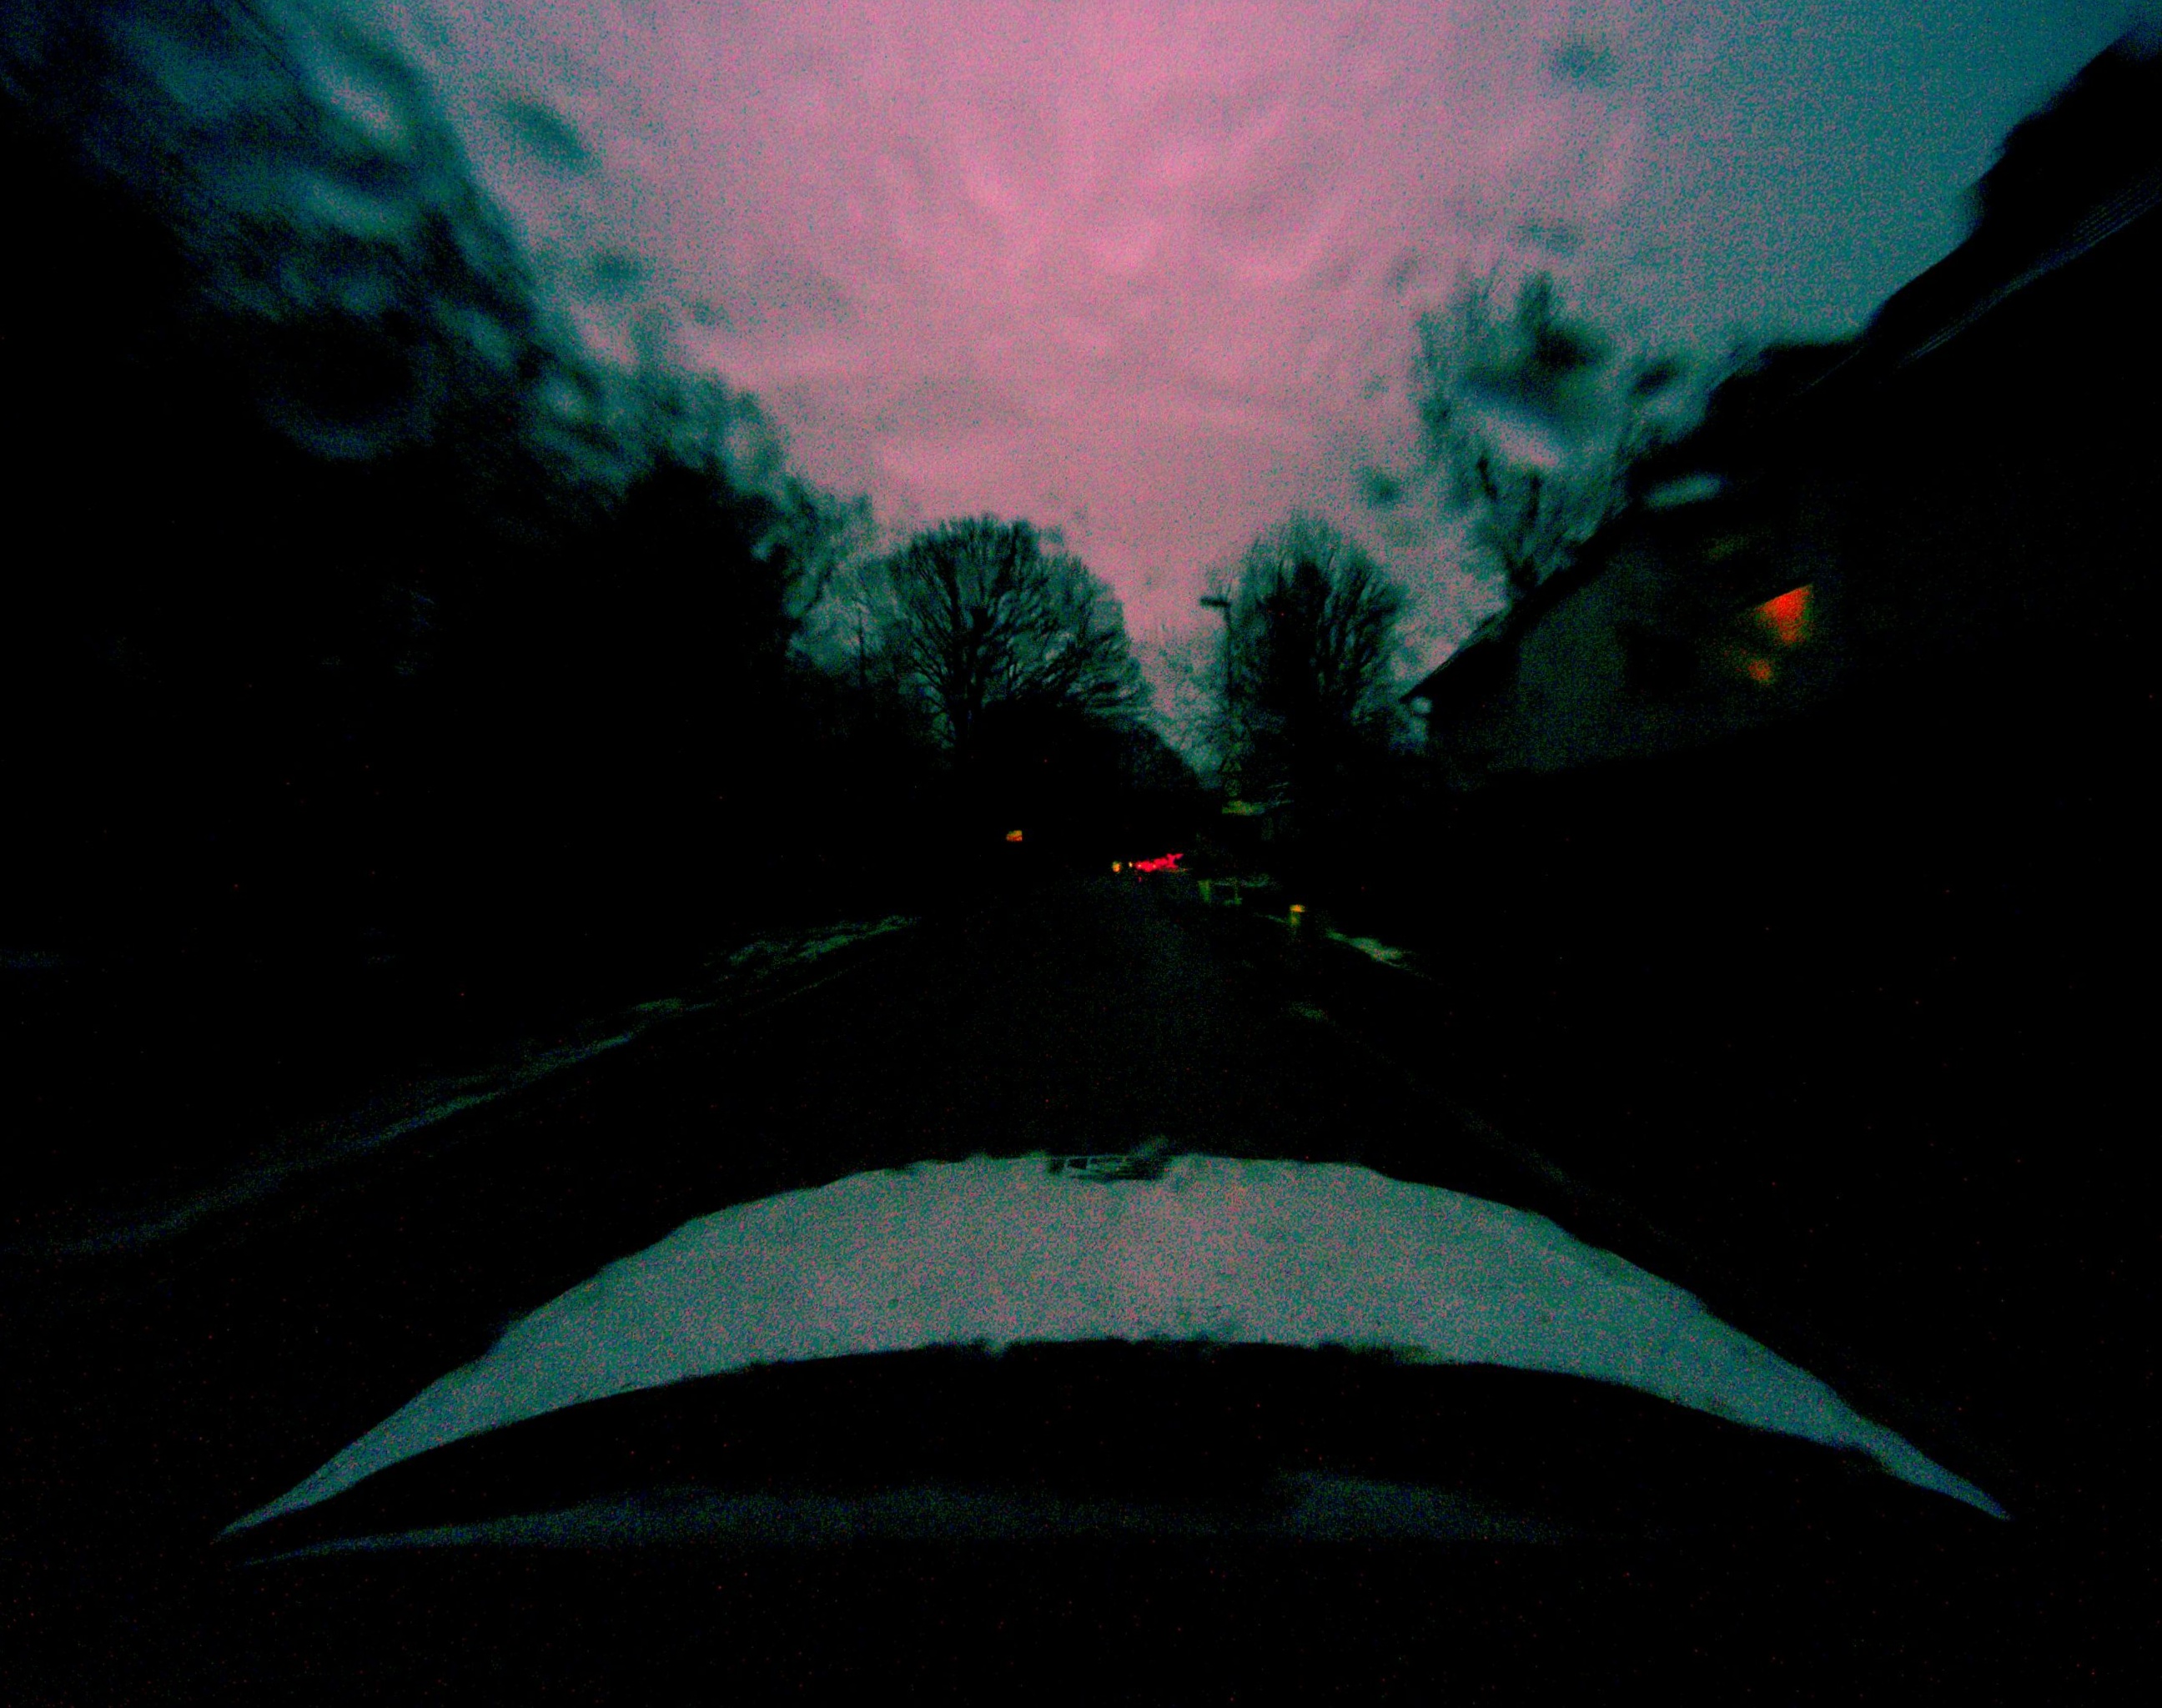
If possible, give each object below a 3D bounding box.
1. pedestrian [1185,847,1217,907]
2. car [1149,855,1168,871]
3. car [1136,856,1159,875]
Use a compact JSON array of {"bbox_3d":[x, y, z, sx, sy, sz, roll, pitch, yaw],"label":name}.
[{"bbox_3d":[3.433,0.640,23.394,0.741,1.655,0.970,-2,0,1],"label":"pedestrian"},{"bbox_3d":[8.671,0.993,91.668,1.925,1.676,4.004,-2,0,3],"label":"car"},{"bbox_3d":[6.499,1.105,78.975,1.922,1.781,4.009,-2,0,8],"label":"car"}]
